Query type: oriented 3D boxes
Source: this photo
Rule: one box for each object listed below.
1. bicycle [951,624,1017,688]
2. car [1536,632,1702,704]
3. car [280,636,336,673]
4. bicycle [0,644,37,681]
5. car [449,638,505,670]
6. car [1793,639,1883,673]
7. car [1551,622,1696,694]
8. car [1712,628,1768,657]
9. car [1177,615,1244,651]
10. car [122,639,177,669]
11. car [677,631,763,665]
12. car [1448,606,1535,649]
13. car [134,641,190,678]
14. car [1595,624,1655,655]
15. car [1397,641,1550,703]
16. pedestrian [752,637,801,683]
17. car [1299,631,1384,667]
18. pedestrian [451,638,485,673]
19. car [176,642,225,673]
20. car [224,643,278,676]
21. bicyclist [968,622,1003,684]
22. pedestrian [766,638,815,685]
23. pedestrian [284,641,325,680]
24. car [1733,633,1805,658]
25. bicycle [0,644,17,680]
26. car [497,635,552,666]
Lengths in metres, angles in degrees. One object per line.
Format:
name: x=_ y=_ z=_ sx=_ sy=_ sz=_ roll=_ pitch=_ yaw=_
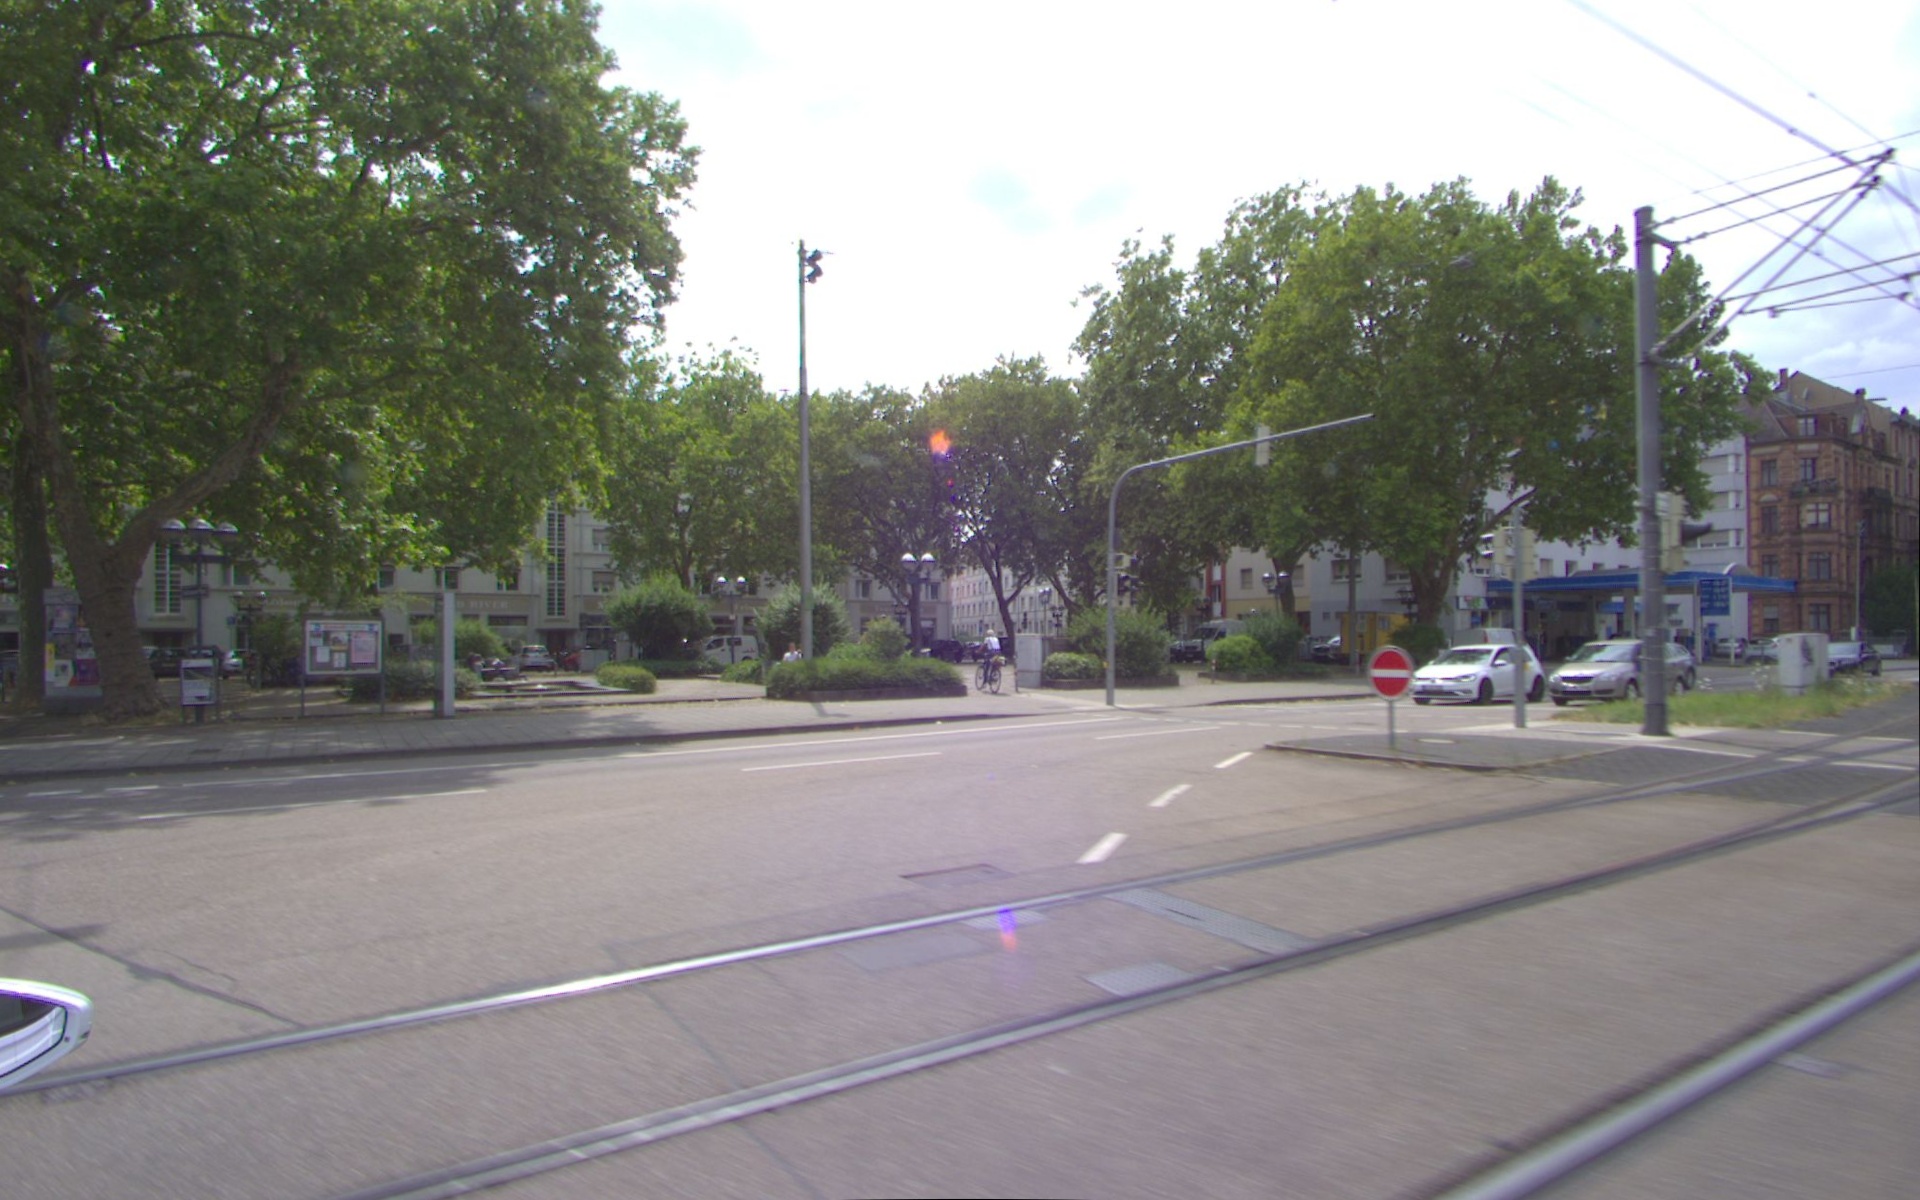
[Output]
bicycle: x=0.656 y=1.540 z=28.007 sx=0.713 sy=1.727 sz=2.169 roll=1 pitch=-1 yaw=-35
car: x=15.388 y=1.516 z=23.322 sx=4.234 sy=1.531 sz=1.827 roll=1 pitch=-2 yaw=-35
car: x=-32.512 y=2.683 z=49.875 sx=1.977 sy=1.716 sz=4.526 roll=0 pitch=-2 yaw=-38
bicycle: x=-37.867 y=2.493 z=40.291 sx=0.414 sy=1.396 sz=2.302 roll=0 pitch=-1 yaw=-26
car: x=-26.301 y=2.895 z=54.463 sx=1.977 sy=1.638 sz=4.173 roll=0 pitch=-2 yaw=-38
car: x=35.640 y=2.229 z=40.633 sx=3.951 sy=1.282 sz=1.986 roll=1 pitch=-2 yaw=-36
car: x=20.403 y=1.736 z=30.812 sx=3.938 sy=2.039 sz=1.993 roll=0 pitch=-2 yaw=-26
car: x=55.785 y=3.027 z=71.641 sx=3.947 sy=2.039 sz=1.988 roll=1 pitch=-1 yaw=-33
car: x=15.310 y=2.025 z=61.168 sx=3.982 sy=2.134 sz=1.984 roll=1 pitch=-2 yaw=-39
car: x=-42.675 y=2.805 z=52.830 sx=1.975 sy=1.506 sz=4.167 roll=1 pitch=-2 yaw=-35
car: x=-13.457 y=2.667 z=56.254 sx=4.277 sy=1.839 sz=1.987 roll=1 pitch=-2 yaw=-34
car: x=24.887 y=1.305 z=46.867 sx=4.330 sy=1.901 sz=1.985 roll=1 pitch=-2 yaw=-37
car: x=-37.111 y=2.753 z=46.654 sx=1.977 sy=1.619 sz=3.970 roll=0 pitch=-2 yaw=-38
car: x=45.010 y=2.687 z=67.783 sx=3.947 sy=2.039 sz=1.988 roll=1 pitch=-1 yaw=-33
car: x=12.922 y=1.745 z=25.110 sx=4.237 sy=1.401 sz=1.825 roll=1 pitch=-2 yaw=-38
pedestrian: x=-5.489 y=1.778 z=29.968 sx=1.164 sy=1.334 sz=0.861 roll=1 pitch=-1 yaw=-36
car: x=20.239 y=2.594 z=53.103 sx=3.934 sy=1.839 sz=1.995 roll=1 pitch=-1 yaw=-22
pedestrian: x=-17.301 y=1.932 z=35.181 sx=0.878 sy=1.215 sz=1.116 roll=1 pitch=-1 yaw=-37
car: x=-41.670 y=3.127 z=54.987 sx=1.975 sy=1.611 sz=4.167 roll=1 pitch=-2 yaw=-35
car: x=-34.551 y=2.872 z=48.756 sx=1.977 sy=1.482 sz=3.970 roll=1 pitch=-2 yaw=-38
bicyclist: x=0.706 y=1.463 z=27.883 sx=0.555 sy=1.674 sz=0.861 roll=1 pitch=-1 yaw=-36
pedestrian: x=-4.943 y=1.783 z=29.193 sx=1.164 sy=1.334 sz=0.861 roll=1 pitch=-1 yaw=-36
pedestrian: x=-21.334 y=1.955 z=32.591 sx=1.085 sy=1.228 sz=1.134 roll=0 pitch=-2 yaw=-33
car: x=44.873 y=2.501 z=55.524 sx=3.947 sy=1.282 sz=1.988 roll=1 pitch=-2 yaw=-33
bicycle: x=-38.401 y=2.490 z=39.982 sx=0.414 sy=1.396 sz=2.302 roll=0 pitch=-1 yaw=-26
car: x=-24.308 y=2.791 z=55.838 sx=1.976 sy=1.661 sz=3.971 roll=1 pitch=-2 yaw=-37
